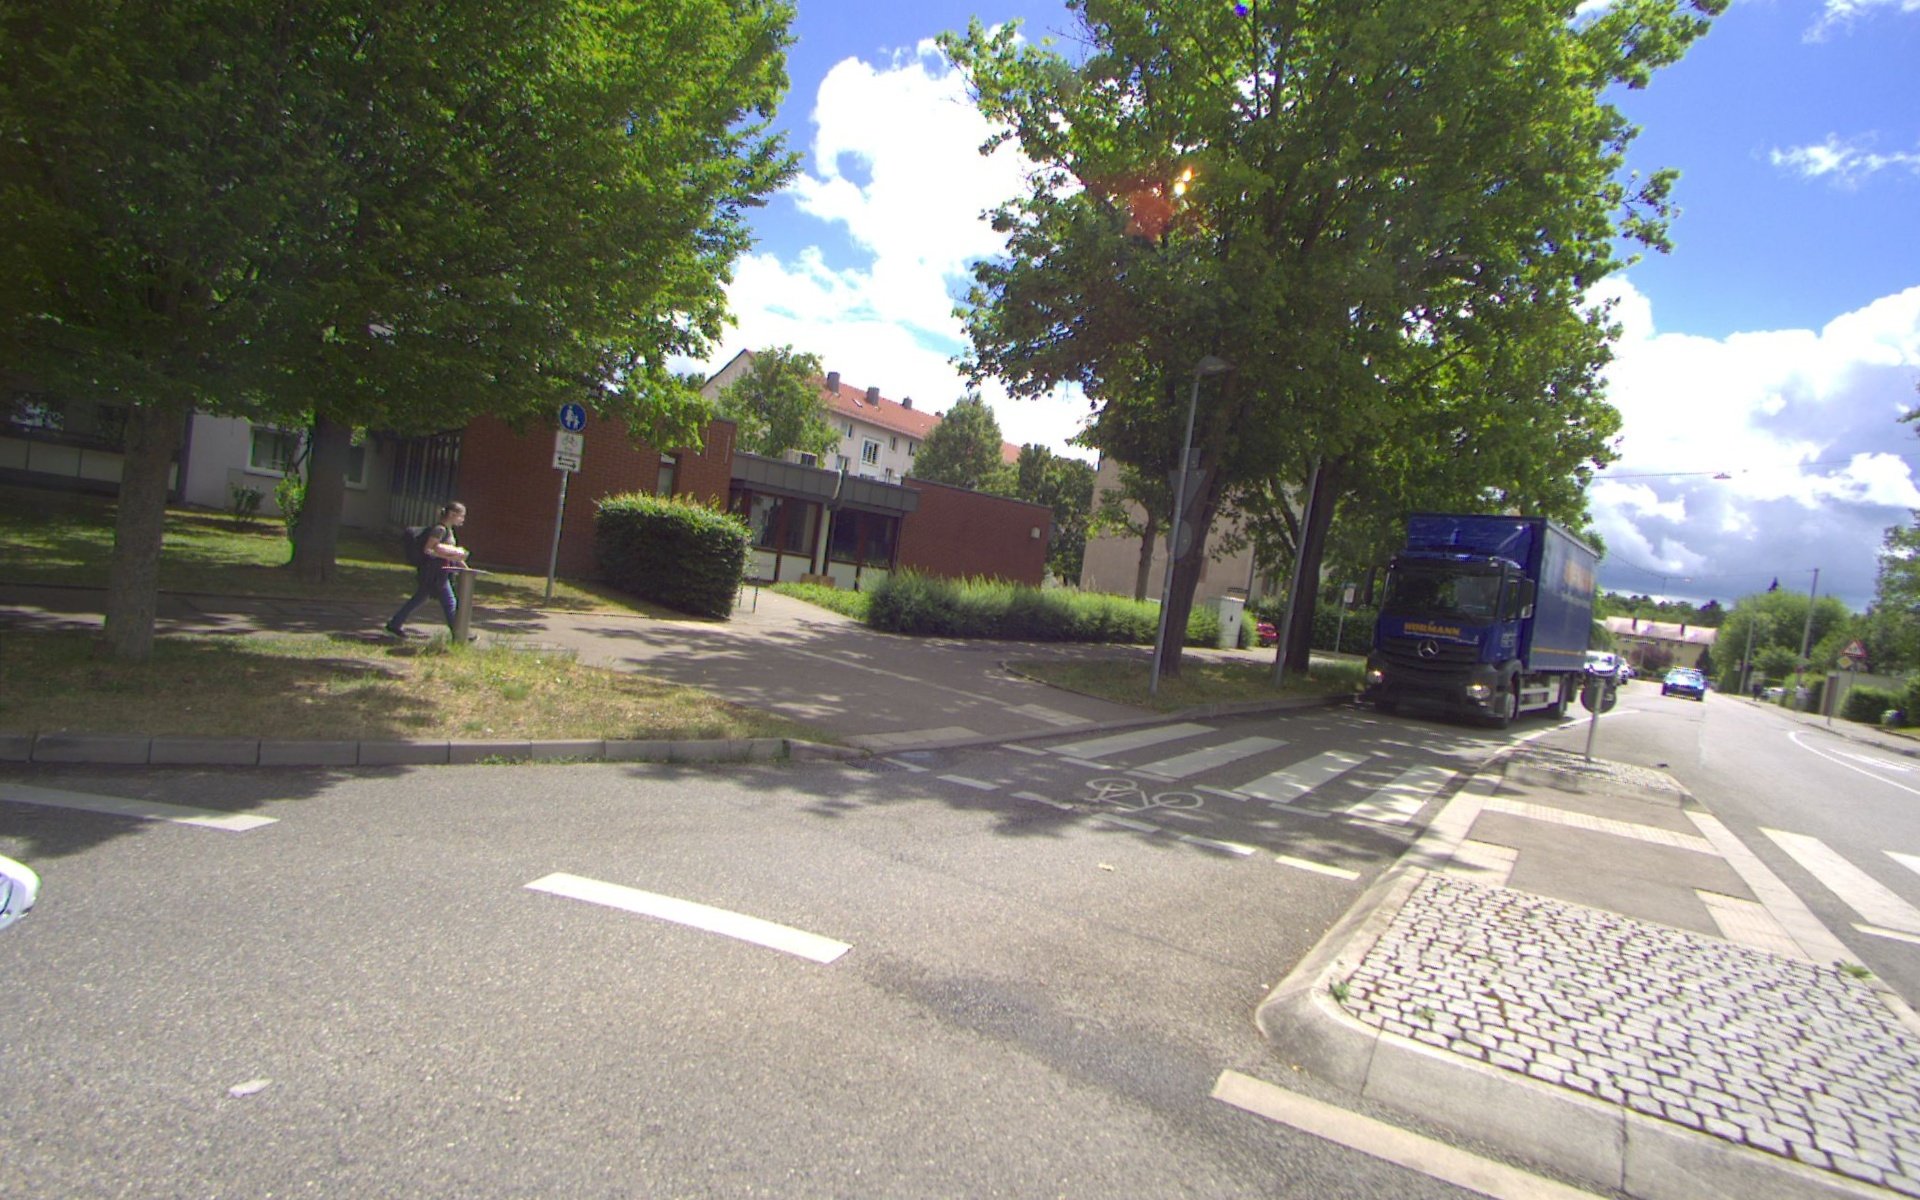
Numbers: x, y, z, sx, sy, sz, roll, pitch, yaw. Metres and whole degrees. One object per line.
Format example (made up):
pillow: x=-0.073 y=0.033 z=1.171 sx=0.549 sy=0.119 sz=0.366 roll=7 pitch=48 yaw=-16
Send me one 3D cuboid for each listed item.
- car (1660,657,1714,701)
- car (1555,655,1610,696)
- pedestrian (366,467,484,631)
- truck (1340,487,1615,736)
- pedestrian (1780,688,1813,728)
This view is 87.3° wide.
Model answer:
car: x=37.937 y=4.150 z=52.445 sx=1.969 sy=1.802 sz=3.987 roll=10 pitch=1 yaw=37
car: x=30.431 y=3.698 z=49.137 sx=1.967 sy=1.572 sz=3.991 roll=10 pitch=1 yaw=34
pedestrian: x=-5.556 y=-0.520 z=10.441 sx=0.711 sy=1.601 sz=0.835 roll=10 pitch=6 yaw=44
truck: x=11.673 y=0.513 z=21.950 sx=2.749 sy=4.205 sz=9.754 roll=9 pitch=1 yaw=40
pedestrian: x=46.600 y=5.991 z=56.057 sx=1.007 sy=2.040 sz=1.038 roll=9 pitch=3 yaw=32
